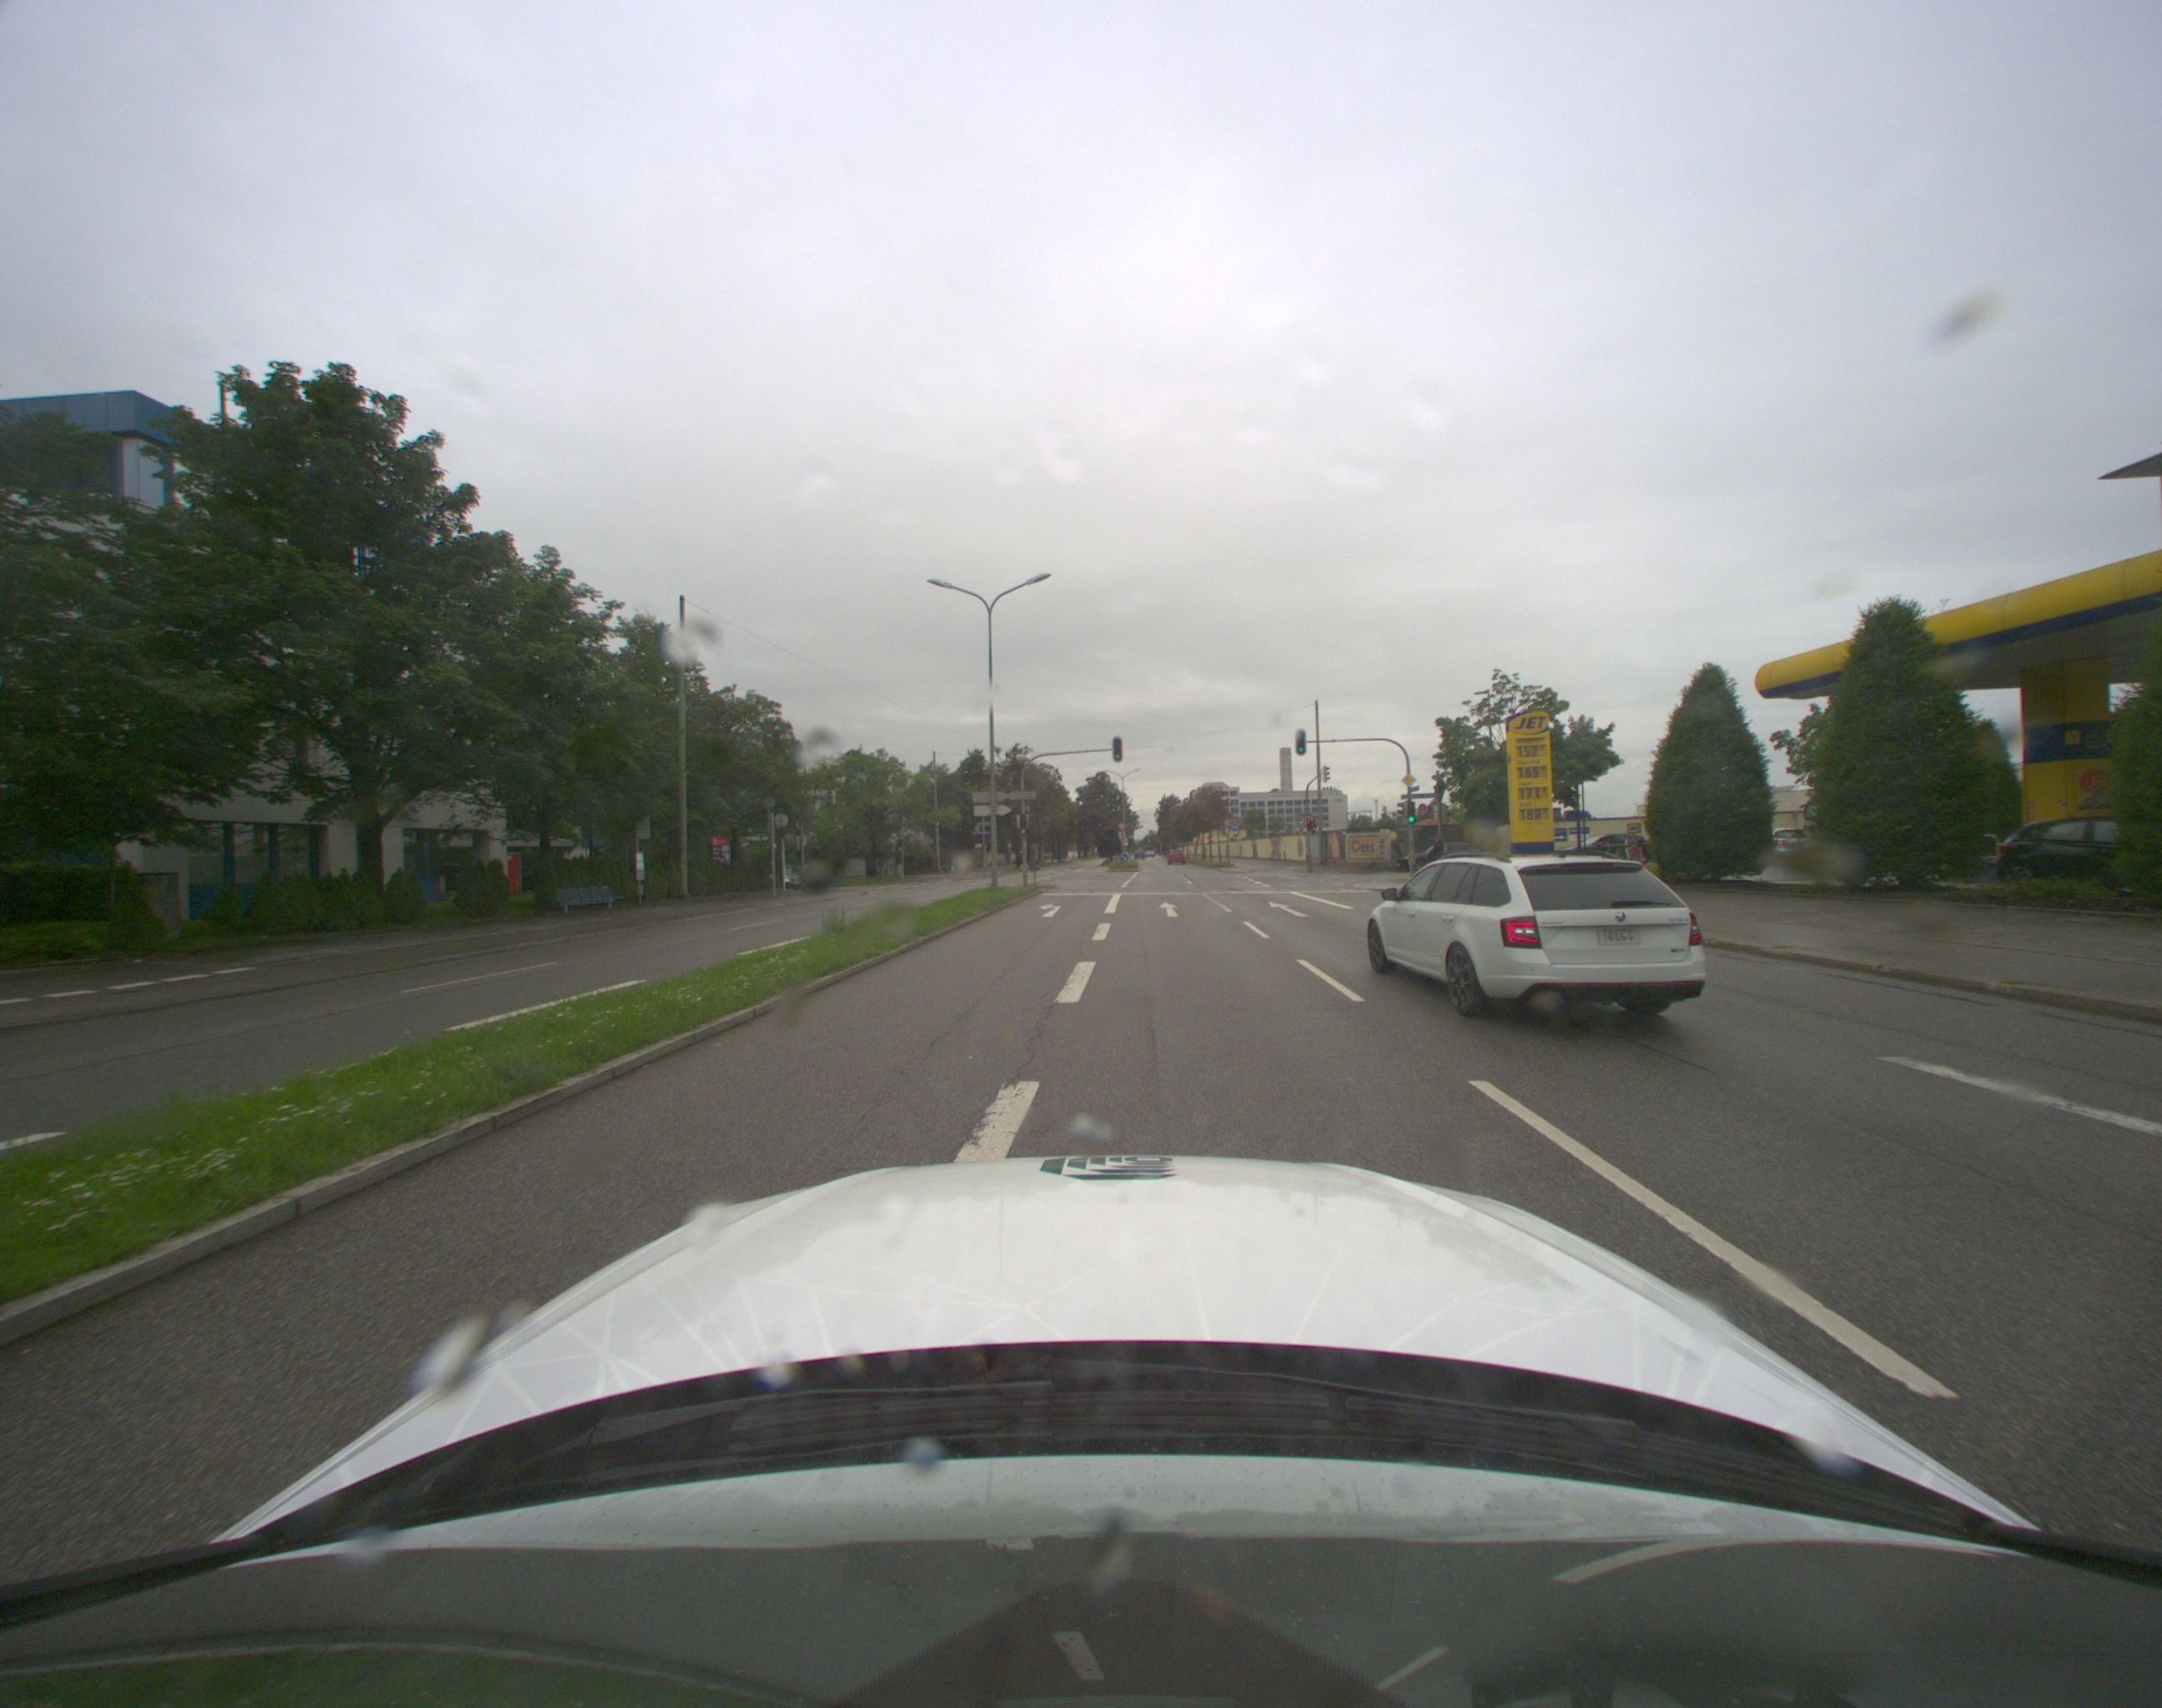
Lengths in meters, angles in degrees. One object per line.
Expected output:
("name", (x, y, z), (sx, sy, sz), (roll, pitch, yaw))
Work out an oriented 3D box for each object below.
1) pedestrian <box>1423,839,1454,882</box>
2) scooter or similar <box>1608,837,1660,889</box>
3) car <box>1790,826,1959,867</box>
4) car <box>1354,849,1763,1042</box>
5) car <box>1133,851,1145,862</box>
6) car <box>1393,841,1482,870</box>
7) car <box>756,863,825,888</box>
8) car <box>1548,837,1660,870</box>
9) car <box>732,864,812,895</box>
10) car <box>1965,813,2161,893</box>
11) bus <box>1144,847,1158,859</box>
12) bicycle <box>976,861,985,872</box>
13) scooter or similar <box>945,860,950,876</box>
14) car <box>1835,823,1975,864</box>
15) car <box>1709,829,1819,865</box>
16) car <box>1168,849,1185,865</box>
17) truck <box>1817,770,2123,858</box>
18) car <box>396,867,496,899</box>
("pedestrian", (14.048, 0.247, 32.009), (0.799, 1.615, 0.688), (-4, -1, 3))
("scooter or similar", (13.957, 0.218, 20.584), (0.354, 1.242, 1.549), (-4, -1, 8))
("car", (28.919, -0.249, 29.888), (1.696, 1.384, 4.354), (-1, 0, -6))
("car", (4.410, 0.716, 8.515), (1.869, 1.468, 4.506), (-1, 0, 4))
("car", (10.326, 0.411, 145.469), (2.076, 1.866, 4.389), (-1, 0, 2))
("car", (20.174, 0.103, 46.222), (4.229, 1.428, 2.003), (-2, 0, 6))
("car", (-21.369, 1.566, 59.943), (4.240, 1.574, 2.007), (-3, 2, 12))
("car", (27.753, -0.017, 43.355), (4.594, 1.532, 2.003), (-2, 0, 6))
("car", (-19.538, 1.604, 51.461), (4.731, 1.723, 2.012), (-3, -1, 26))
("car", (19.029, -0.024, 14.754), (1.787, 1.332, 4.002), (-1, 0, 2))
("bus", (18.778, -0.133, 219.091), (3.208, 3.127, 10.351), (-1, 0, 3))
("bicycle", (-11.825, 1.493, 95.866), (0.580, 1.296, 2.455), (-1, 0, 1))
("scooter or similar", (-12.534, 1.318, 76.523), (0.370, 1.424, 1.400), (-1, 0, -12))
("car", (31.690, -0.373, 31.476), (1.615, 1.486, 3.984), (-1, 0, 5))
("car", (30.004, -0.301, 35.924), (1.617, 1.486, 3.980), (-1, 0, 2))
("car", (10.412, 0.351, 88.973), (1.478, 1.715, 3.553), (-1, 0, 2))
("truck", (45.386, -1.959, 41.911), (11.837, 3.856, 2.614), (-2, -1, 6))
("car", (-30.485, 1.389, 39.113), (4.128, 1.418, 1.879), (-1, 0, 20))
